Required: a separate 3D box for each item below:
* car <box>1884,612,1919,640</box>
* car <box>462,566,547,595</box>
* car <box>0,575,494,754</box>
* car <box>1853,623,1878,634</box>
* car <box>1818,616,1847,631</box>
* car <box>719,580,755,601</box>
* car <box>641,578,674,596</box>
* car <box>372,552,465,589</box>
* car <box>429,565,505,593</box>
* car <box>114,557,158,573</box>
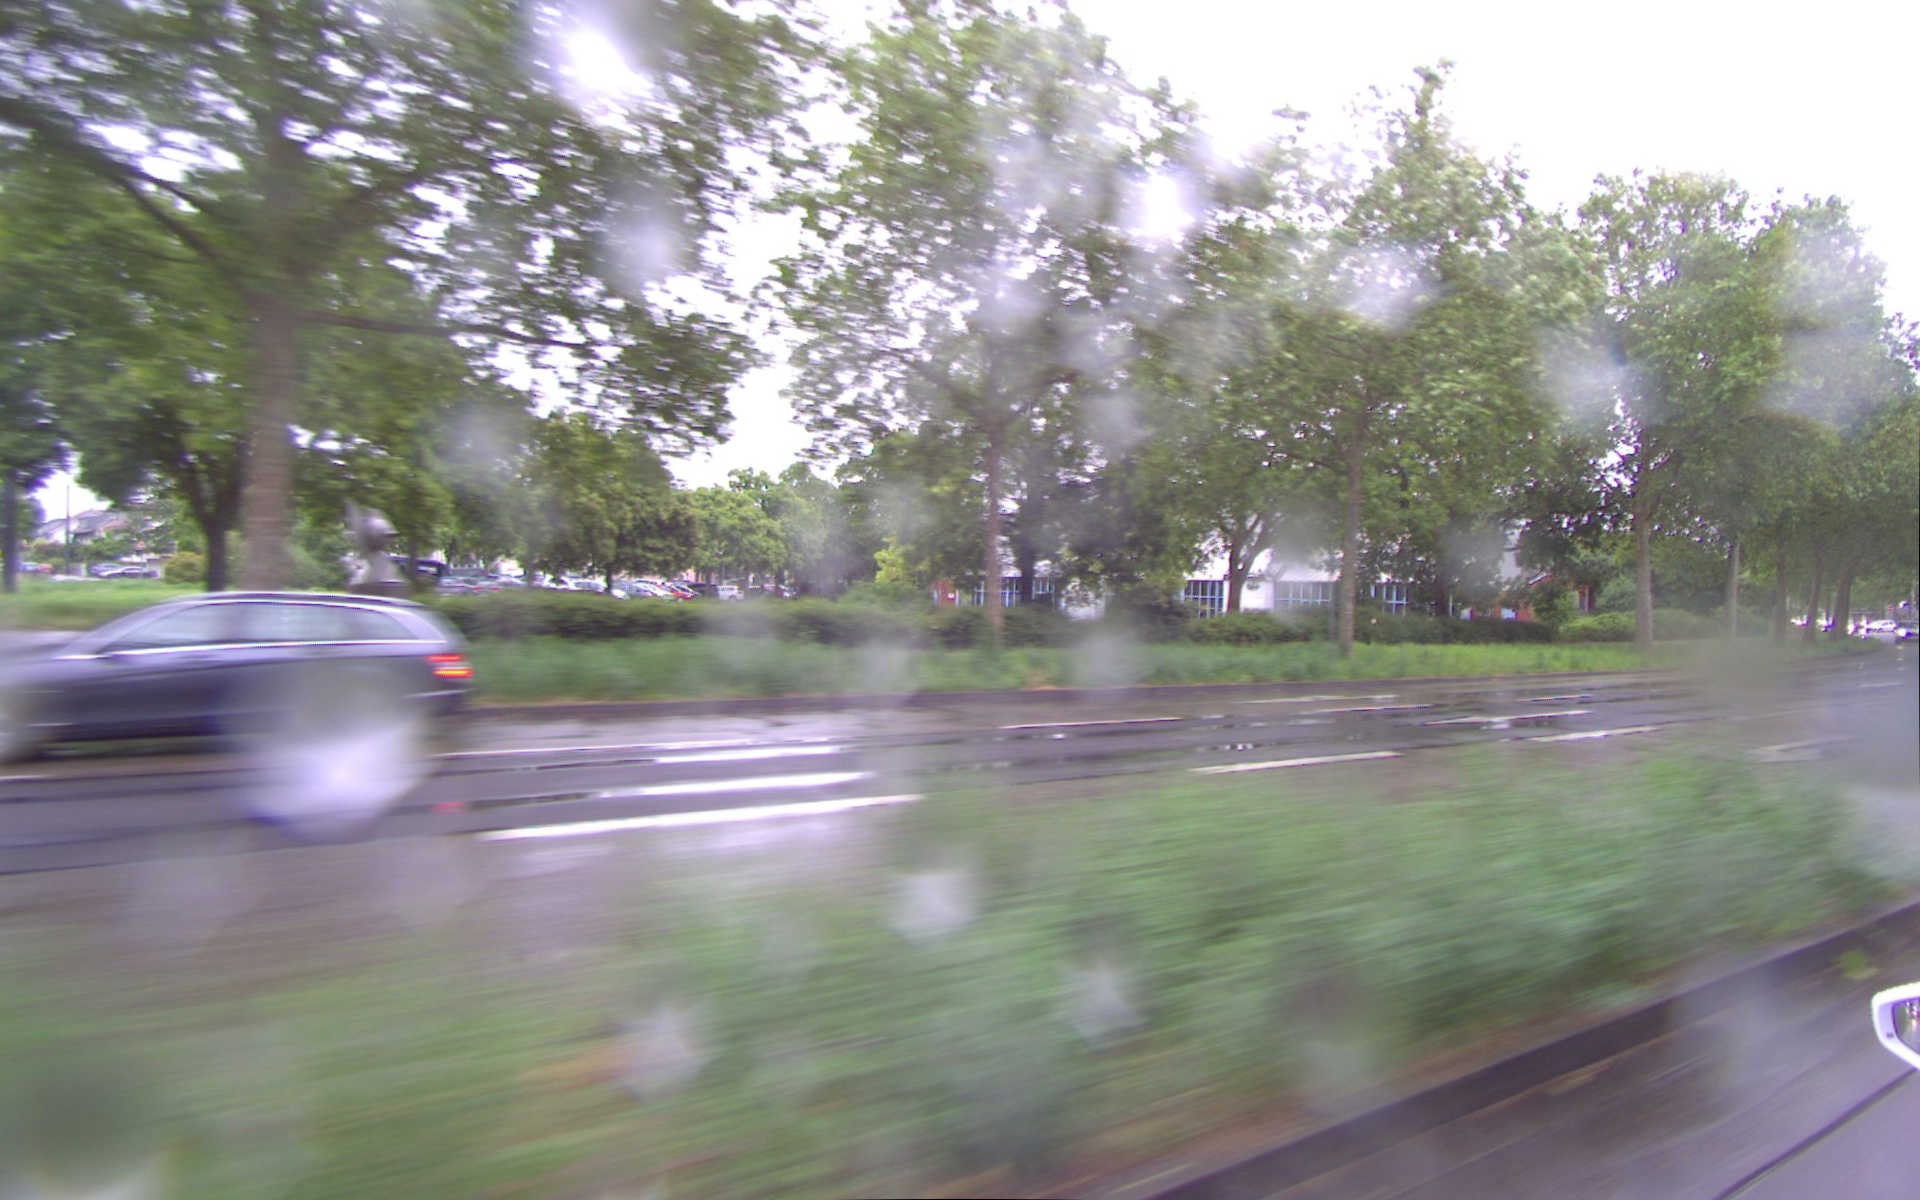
[{"bbox_3d":[76.583,2.084,81.675,1.957,2.041,3.980,2,2,40],"label":"car"},{"bbox_3d":[-26.555,-1.155,58.751,2.020,1.594,5.018,1,1,10],"label":"car"},{"bbox_3d":[-7.011,0.586,9.664,4.409,1.425,1.790,3,0,-31],"label":"car"},{"bbox_3d":[117.405,3.638,130.252,1.737,1.243,3.773,1,1,31],"label":"car"},{"bbox_3d":[105.816,2.858,121.848,1.965,1.606,3.990,1,1,31],"label":"car"},{"bbox_3d":[-19.403,-0.835,87.555,2.143,1.721,4.088,0,1,1],"label":"car"},{"bbox_3d":[-29.580,-1.294,98.428,1.780,1.640,3.920,1,1,5],"label":"car"},{"bbox_3d":[-31.465,-1.706,58.603,2.266,2.041,5.119,1,1,6],"label":"car"},{"bbox_3d":[-28.921,-1.221,59.149,1.721,1.551,4.851,1,1,6],"label":"car"},{"bbox_3d":[-100.207,-4.237,122.164,1.791,1.826,3.866,0,1,38],"label":"car"}]
